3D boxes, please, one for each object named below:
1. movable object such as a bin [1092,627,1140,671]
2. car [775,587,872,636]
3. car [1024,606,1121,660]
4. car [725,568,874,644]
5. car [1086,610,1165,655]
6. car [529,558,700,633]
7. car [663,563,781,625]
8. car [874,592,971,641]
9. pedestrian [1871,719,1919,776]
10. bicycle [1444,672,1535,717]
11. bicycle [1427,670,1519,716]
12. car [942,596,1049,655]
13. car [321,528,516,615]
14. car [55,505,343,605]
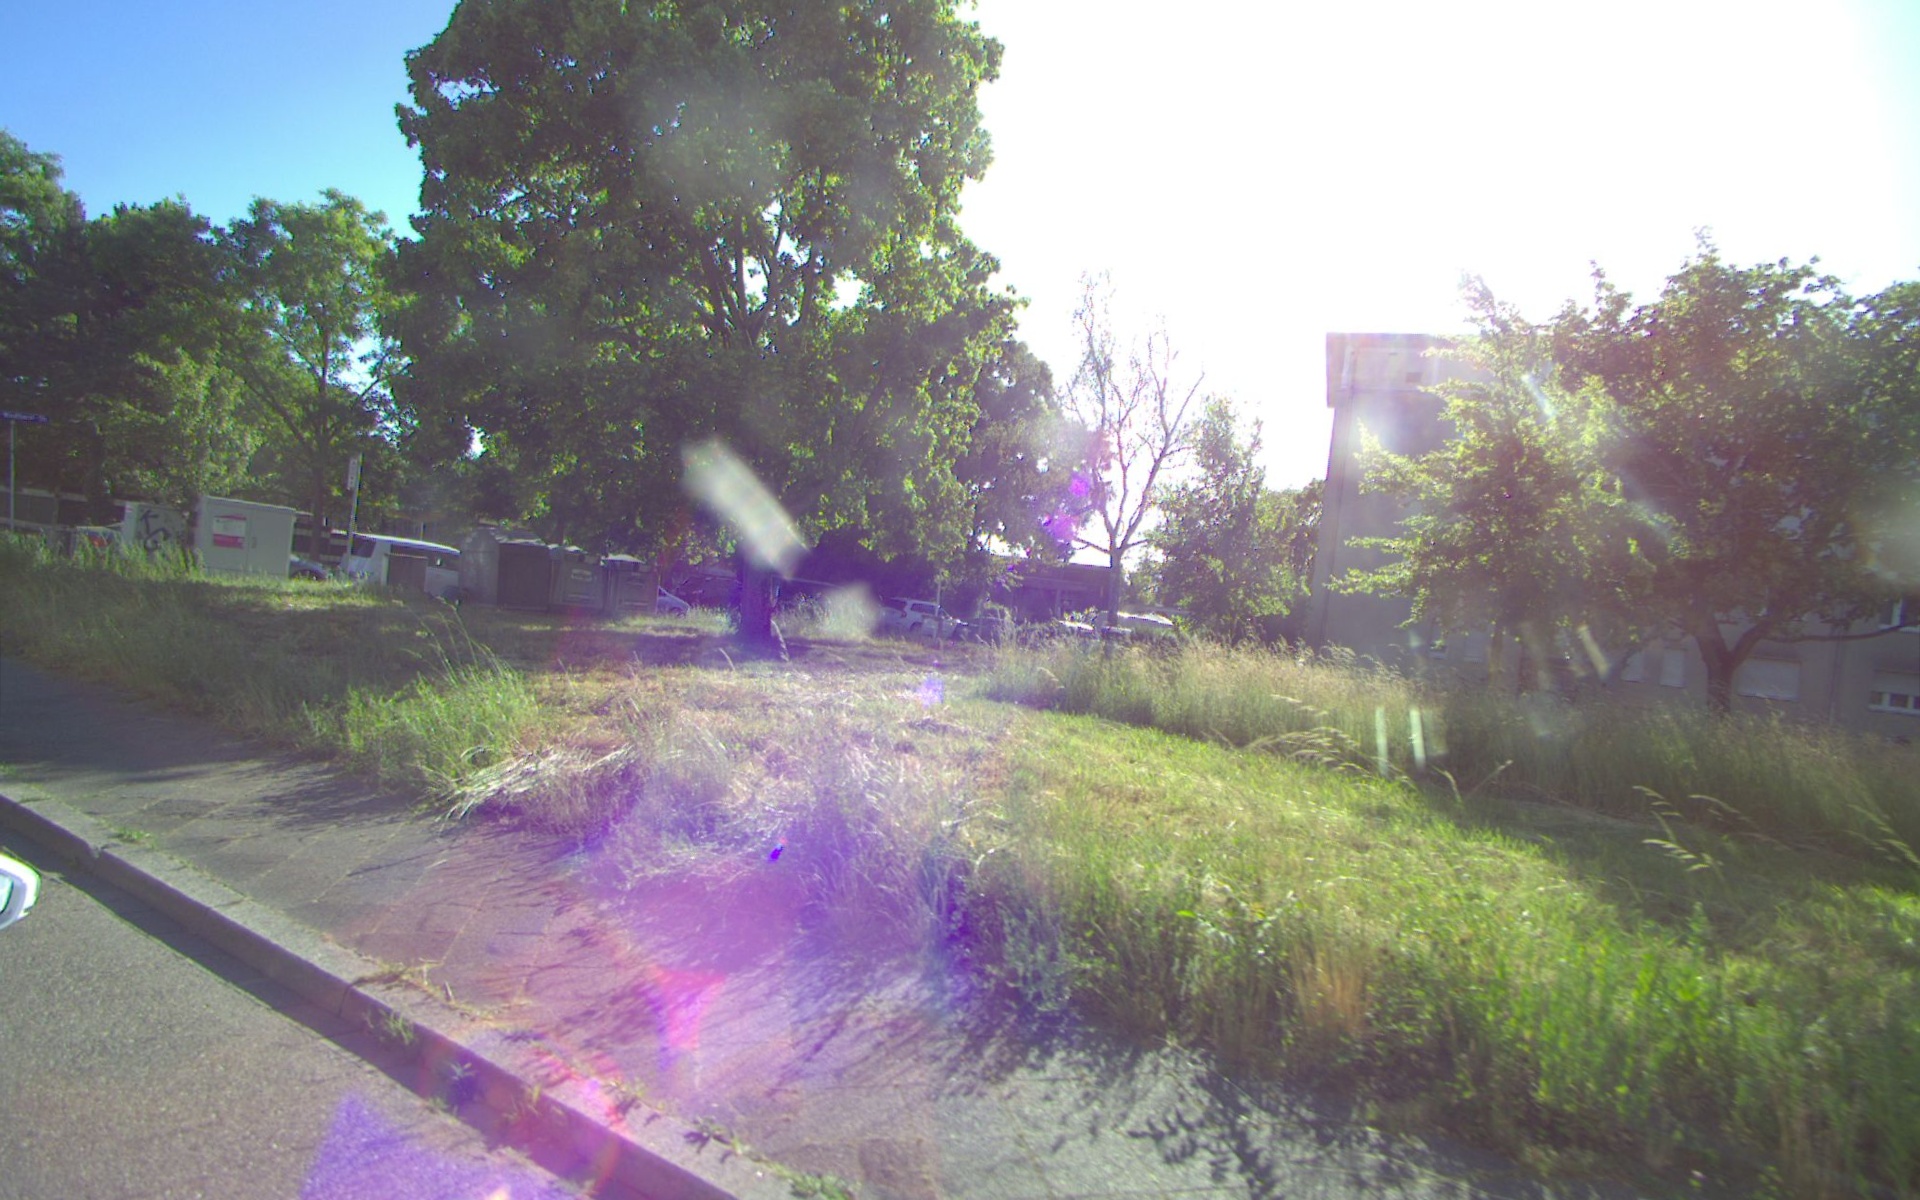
[{"bbox_3d":[6.151,1.915,39.587,1.508,1.527,1.392,7,0,19],"label":"movable object such as a bin"},{"bbox_3d":[-5.857,0.518,43.514,1.968,1.631,3.869,7,-1,34],"label":"car"},{"bbox_3d":[5.397,1.587,47.799,2.137,2.037,4.495,7,0,43],"label":"car"},{"bbox_3d":[-5.432,0.255,34.504,2.241,2.037,4.500,7,0,40],"label":"car"},{"bbox_3d":[10.261,2.020,62.080,2.236,2.290,5.052,7,0,41],"label":"car"},{"bbox_3d":[-9.764,-0.091,28.683,1.943,1.560,4.102,8,0,38],"label":"car"},{"bbox_3d":[-9.202,-0.205,39.078,1.972,1.874,3.860,7,0,42],"label":"car"},{"bbox_3d":[-1.721,0.820,47.758,1.971,1.829,4.449,7,0,40],"label":"car"},{"bbox_3d":[27.310,4.292,29.292,0.753,1.475,0.757,7,1,17],"label":"pedestrian"},{"bbox_3d":[19.192,3.417,36.535,2.645,1.220,0.941,7,0,5],"label":"bicycle"},{"bbox_3d":[18.194,3.298,35.751,2.645,1.220,0.941,7,0,5],"label":"bicycle"},{"bbox_3d":[1.575,1.122,43.201,2.134,2.037,4.500,7,0,40],"label":"car"},{"bbox_3d":[-13.157,-0.651,24.593,1.801,1.597,3.682,7,0,39],"label":"car"},{"bbox_3d":[-15.716,-0.882,21.018,1.719,1.353,4.427,9,0,36],"label":"car"}]
